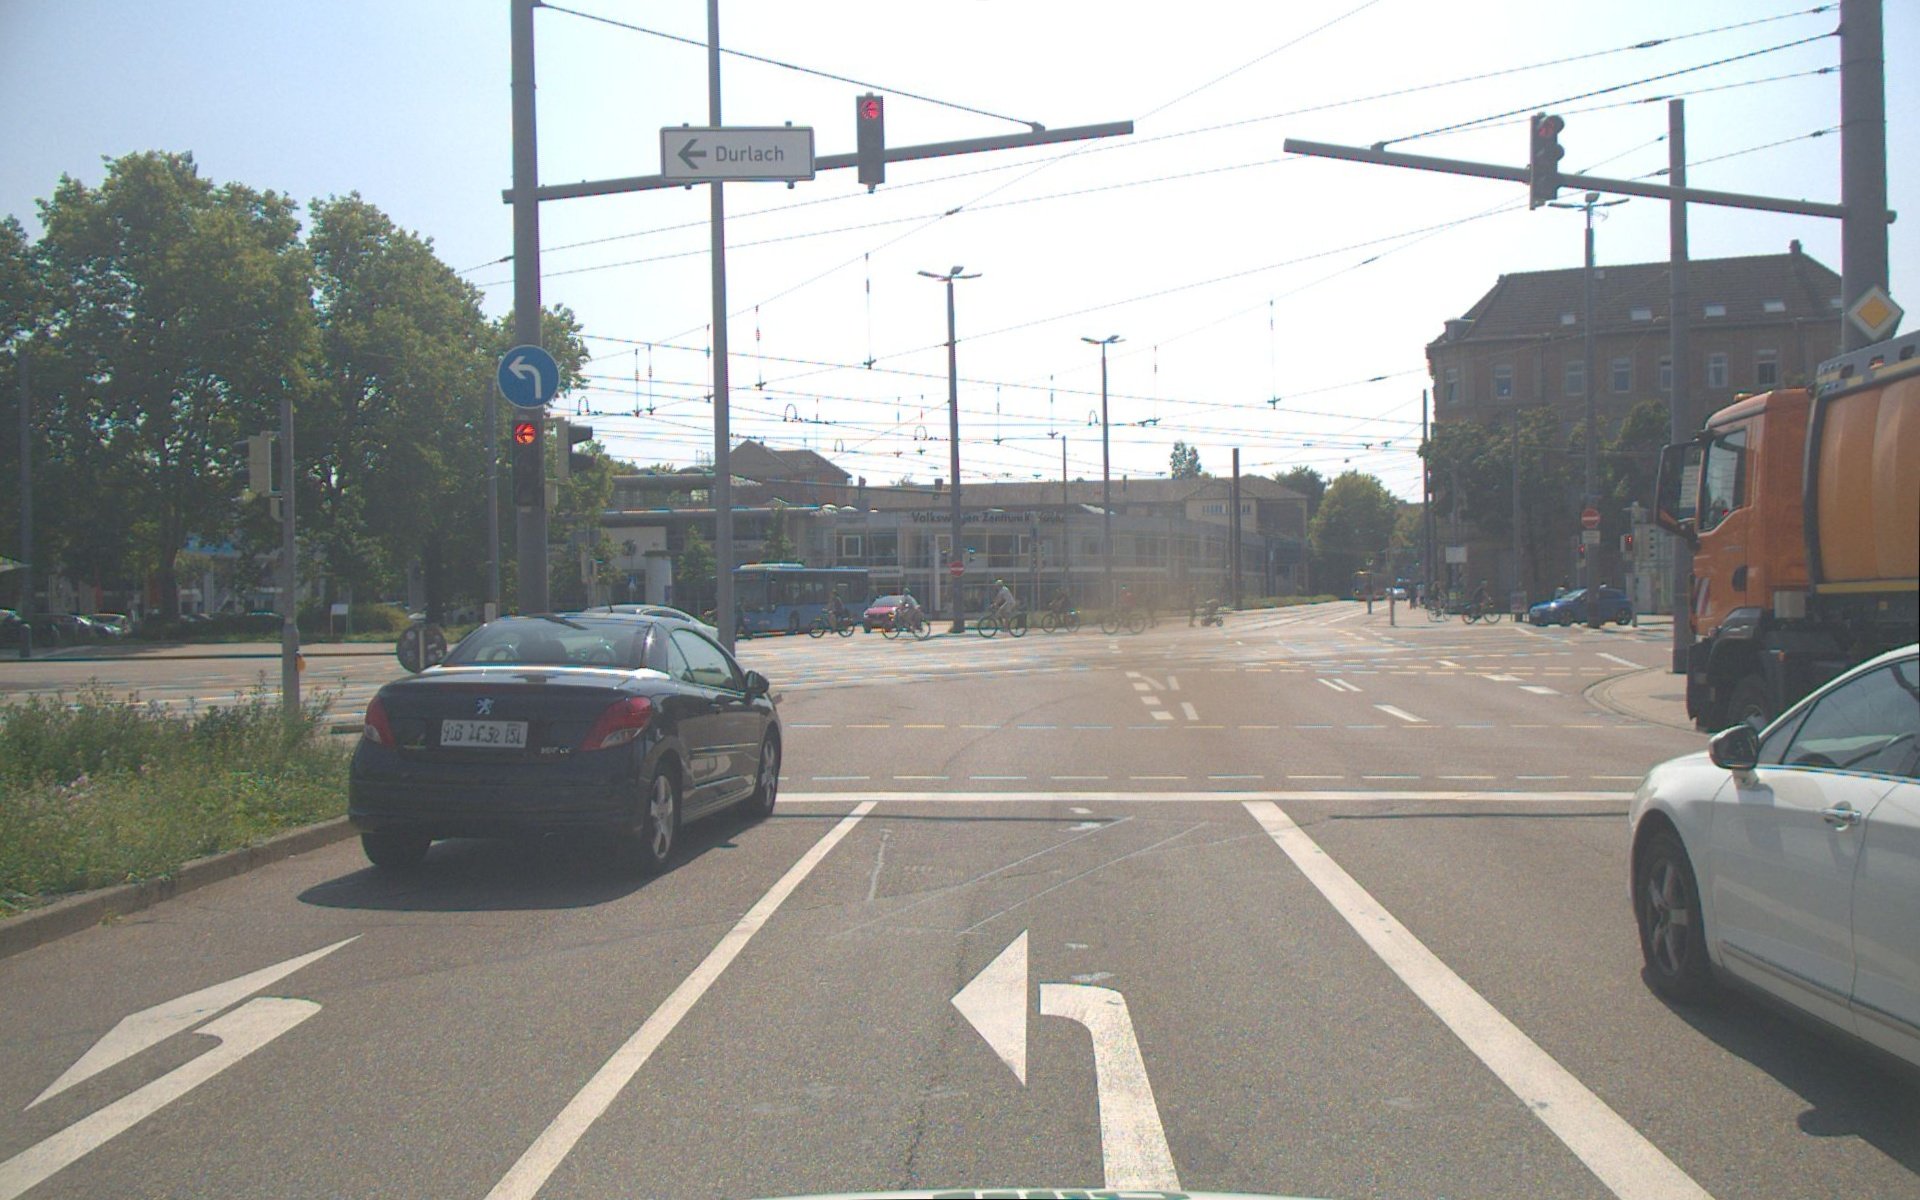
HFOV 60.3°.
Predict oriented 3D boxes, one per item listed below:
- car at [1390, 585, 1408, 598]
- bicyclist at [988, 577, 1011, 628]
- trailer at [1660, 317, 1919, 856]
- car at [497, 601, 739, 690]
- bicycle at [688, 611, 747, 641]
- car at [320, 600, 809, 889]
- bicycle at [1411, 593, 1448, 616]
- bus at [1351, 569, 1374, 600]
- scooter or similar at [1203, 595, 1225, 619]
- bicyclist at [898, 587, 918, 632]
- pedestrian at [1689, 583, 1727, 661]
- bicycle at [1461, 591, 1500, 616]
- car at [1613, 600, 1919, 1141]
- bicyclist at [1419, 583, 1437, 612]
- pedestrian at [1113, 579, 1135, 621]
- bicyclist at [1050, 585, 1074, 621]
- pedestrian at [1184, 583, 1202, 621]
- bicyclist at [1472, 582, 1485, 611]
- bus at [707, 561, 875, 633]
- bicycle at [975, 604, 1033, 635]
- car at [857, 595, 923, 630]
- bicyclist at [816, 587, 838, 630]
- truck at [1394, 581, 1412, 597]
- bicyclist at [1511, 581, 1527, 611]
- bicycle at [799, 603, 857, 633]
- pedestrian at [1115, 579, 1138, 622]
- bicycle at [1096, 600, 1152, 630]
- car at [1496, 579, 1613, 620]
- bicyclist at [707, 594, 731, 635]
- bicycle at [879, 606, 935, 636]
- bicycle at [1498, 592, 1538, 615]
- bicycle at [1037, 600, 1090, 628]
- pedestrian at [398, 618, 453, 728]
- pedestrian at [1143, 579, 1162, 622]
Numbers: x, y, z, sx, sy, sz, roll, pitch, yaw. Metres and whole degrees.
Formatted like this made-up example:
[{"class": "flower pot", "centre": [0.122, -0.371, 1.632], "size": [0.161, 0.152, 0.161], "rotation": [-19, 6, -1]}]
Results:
[{"class": "car", "centre": [52.481, -0.981, 197.929], "size": [1.951, 1.509, 4.003], "rotation": [-1, 0, 13]}, {"class": "bicyclist", "centre": [1.395, 0.085, 58.627], "size": [0.691, 1.794, 0.713], "rotation": [-1, 0, -9]}, {"class": "trailer", "centre": [6.708, -0.074, 10.234], "size": [2.411, 3.060, 6.328], "rotation": [0, 0, 3]}, {"class": "car", "centre": [-6.046, 0.774, 29.857], "size": [1.901, 1.424, 4.583], "rotation": [-1, 0, 25]}, {"class": "bicycle", "centre": [-9.344, 0.997, 63.776], "size": [2.162, 1.106, 0.759], "rotation": [-1, 0, -17]}, {"class": "car", "centre": [-2.198, 0.727, 10.360], "size": [1.720, 1.429, 3.984], "rotation": [0, 0, 6]}, {"class": "bicycle", "centre": [20.824, 0.185, 73.362], "size": [1.566, 1.002, 0.504], "rotation": [-1, 0, -19]}, {"class": "bus", "centre": [47.866, -1.886, 196.633], "size": [2.507, 3.567, 7.807], "rotation": [-1, 0, 14]}, {"class": "scooter or similar", "centre": [10.903, 0.310, 70.961], "size": [0.818, 0.991, 0.793], "rotation": [-1, 0, 1]}, {"class": "bicyclist", "centre": [-1.824, 0.334, 58.145], "size": [0.650, 1.535, 0.714], "rotation": [-1, 0, -1]}, {"class": "pedestrian", "centre": [14.794, 0.426, 32.727], "size": [0.432, 1.503, 0.532], "rotation": [-2, 2, -21]}, {"class": "bicycle", "centre": [21.901, 0.145, 69.628], "size": [1.557, 1.002, 0.507], "rotation": [-1, 0, 19]}, {"class": "car", "centre": [3.531, 0.753, 4.812], "size": [1.721, 1.480, 4.427], "rotation": [0, 0, 3]}, {"class": "bicyclist", "centre": [20.768, -0.108, 73.346], "size": [0.585, 1.269, 0.504], "rotation": [-1, 0, -18]}, {"class": "pedestrian", "centre": [6.957, -0.005, 70.185], "size": [0.767, 1.782, 0.809], "rotation": [-1, 0, 17]}, {"class": "bicyclist", "centre": [3.974, 0.108, 64.509], "size": [0.659, 1.374, 0.707], "rotation": [-1, 0, -23]}, {"class": "pedestrian", "centre": [9.981, 0.094, 70.914], "size": [0.622, 1.588, 0.748], "rotation": [-1, 0, 1]}, {"class": "bicyclist", "centre": [21.834, -0.164, 69.652], "size": [0.493, 1.209, 0.507], "rotation": [-1, 0, 19]}, {"class": "bus", "centre": [-7.479, -0.176, 75.775], "size": [2.989, 2.982, 11.857], "rotation": [-1, 0, 19]}, {"class": "bicycle", "centre": [1.551, 0.685, 58.652], "size": [1.941, 1.036, 0.713], "rotation": [-1, 0, -9]}, {"class": "car", "centre": [-3.029, 0.540, 72.434], "size": [1.691, 1.444, 3.843], "rotation": [-1, 0, 17]}, {"class": "bicyclist", "centre": [-5.210, 0.320, 64.689], "size": [0.748, 1.662, 0.760], "rotation": [-1, 0, -13]}, {"class": "truck", "centre": [56.949, -1.425, 212.667], "size": [2.069, 2.049, 5.106], "rotation": [-1, 0, 16]}, {"class": "bicyclist", "centre": [24.120, -0.183, 71.356], "size": [0.582, 1.269, 0.507], "rotation": [-1, 0, 22]}, {"class": "bicycle", "centre": [-5.177, 0.705, 64.698], "size": [2.159, 1.106, 0.760], "rotation": [-1, 0, -13]}, {"class": "pedestrian", "centre": [6.088, 0.009, 60.495], "size": [0.649, 1.561, 0.714], "rotation": [-1, 0, -6]}, {"class": "bicycle", "centre": [5.989, 0.548, 60.480], "size": [1.940, 1.036, 0.714], "rotation": [-1, 0, -6]}, {"class": "car", "centre": [22.542, -0.011, 62.777], "size": [3.822, 1.444, 1.730], "rotation": [-1, 0, -9]}, {"class": "bicyclist", "centre": [-9.287, 0.566, 63.789], "size": [0.785, 1.568, 0.759], "rotation": [-1, 0, -16]}, {"class": "bicycle", "centre": [-1.847, 0.735, 58.150], "size": [1.937, 1.036, 0.714], "rotation": [-1, 0, -1]}, {"class": "bicycle", "centre": [24.081, 0.152, 71.371], "size": [1.558, 1.002, 0.507], "rotation": [-1, 0, 23]}, {"class": "bicycle", "centre": [4.032, 0.543, 64.530], "size": [1.951, 1.036, 0.709], "rotation": [-1, 0, -23]}, {"class": "pedestrian", "centre": [-6.552, 0.889, 20.297], "size": [0.586, 1.290, 0.503], "rotation": [-1, 2, -16]}, {"class": "pedestrian", "centre": [8.065, 0.023, 69.244], "size": [0.609, 1.782, 0.628], "rotation": [-1, 0, 19]}]
